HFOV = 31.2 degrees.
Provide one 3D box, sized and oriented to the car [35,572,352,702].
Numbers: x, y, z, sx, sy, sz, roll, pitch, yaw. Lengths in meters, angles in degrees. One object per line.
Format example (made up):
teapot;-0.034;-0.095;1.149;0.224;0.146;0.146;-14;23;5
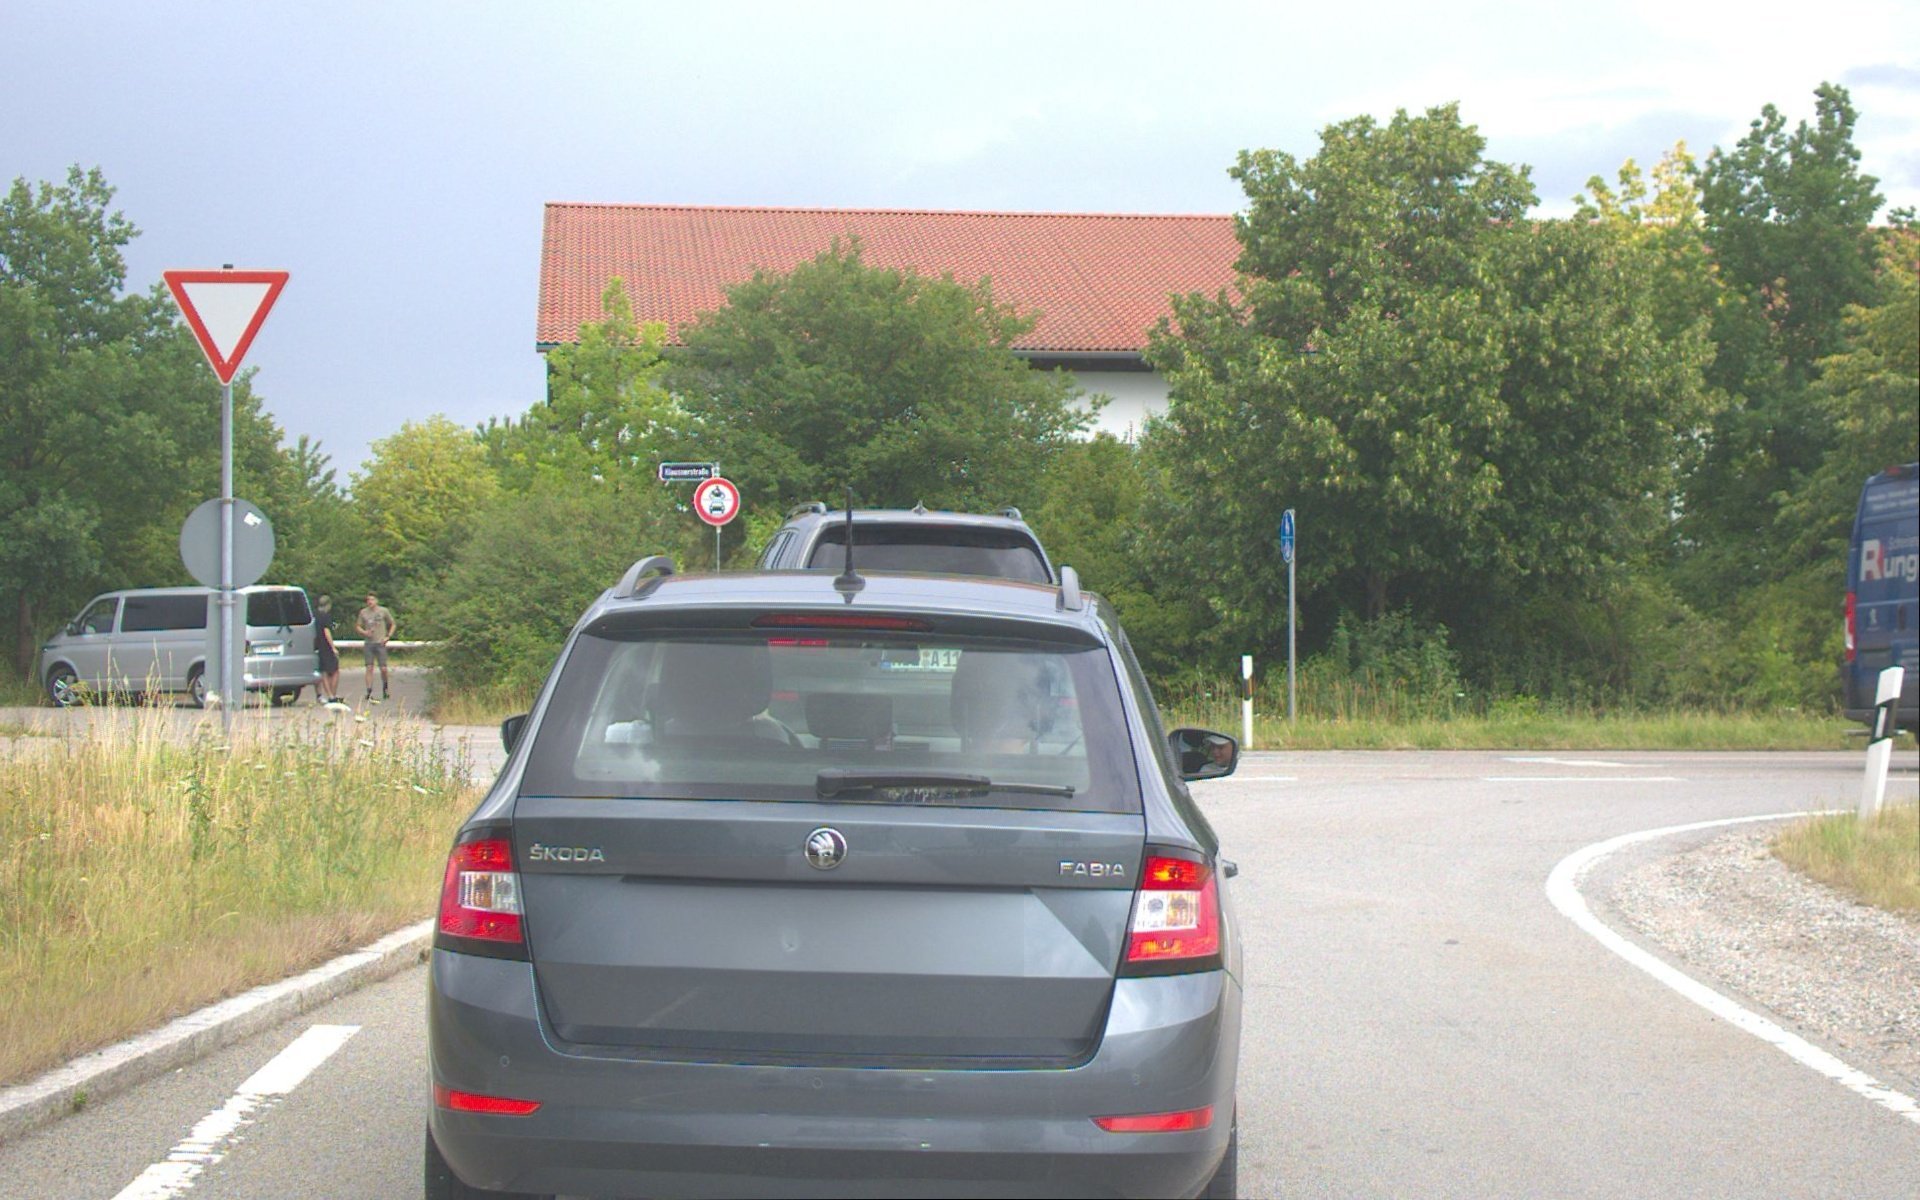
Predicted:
car;-12.662;0.565;56.717;4.908;2.007;2.338;0;1;33

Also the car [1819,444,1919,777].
car;10.183;0.039;28.462;5.551;2.630;2.150;0;1;-5

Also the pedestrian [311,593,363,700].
pedestrian;-10.221;0.760;56.400;0.529;1.720;0.640;0;1;32

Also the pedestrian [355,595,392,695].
pedestrian;-9.982;0.754;58.488;0.583;1.677;0.566;0;1;-7

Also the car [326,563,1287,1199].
car;-0.343;0.667;7.916;1.676;1.457;3.708;1;1;-2

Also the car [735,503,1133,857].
car;-0.256;0.423;19.689;1.993;1.768;4.644;1;0;-3
